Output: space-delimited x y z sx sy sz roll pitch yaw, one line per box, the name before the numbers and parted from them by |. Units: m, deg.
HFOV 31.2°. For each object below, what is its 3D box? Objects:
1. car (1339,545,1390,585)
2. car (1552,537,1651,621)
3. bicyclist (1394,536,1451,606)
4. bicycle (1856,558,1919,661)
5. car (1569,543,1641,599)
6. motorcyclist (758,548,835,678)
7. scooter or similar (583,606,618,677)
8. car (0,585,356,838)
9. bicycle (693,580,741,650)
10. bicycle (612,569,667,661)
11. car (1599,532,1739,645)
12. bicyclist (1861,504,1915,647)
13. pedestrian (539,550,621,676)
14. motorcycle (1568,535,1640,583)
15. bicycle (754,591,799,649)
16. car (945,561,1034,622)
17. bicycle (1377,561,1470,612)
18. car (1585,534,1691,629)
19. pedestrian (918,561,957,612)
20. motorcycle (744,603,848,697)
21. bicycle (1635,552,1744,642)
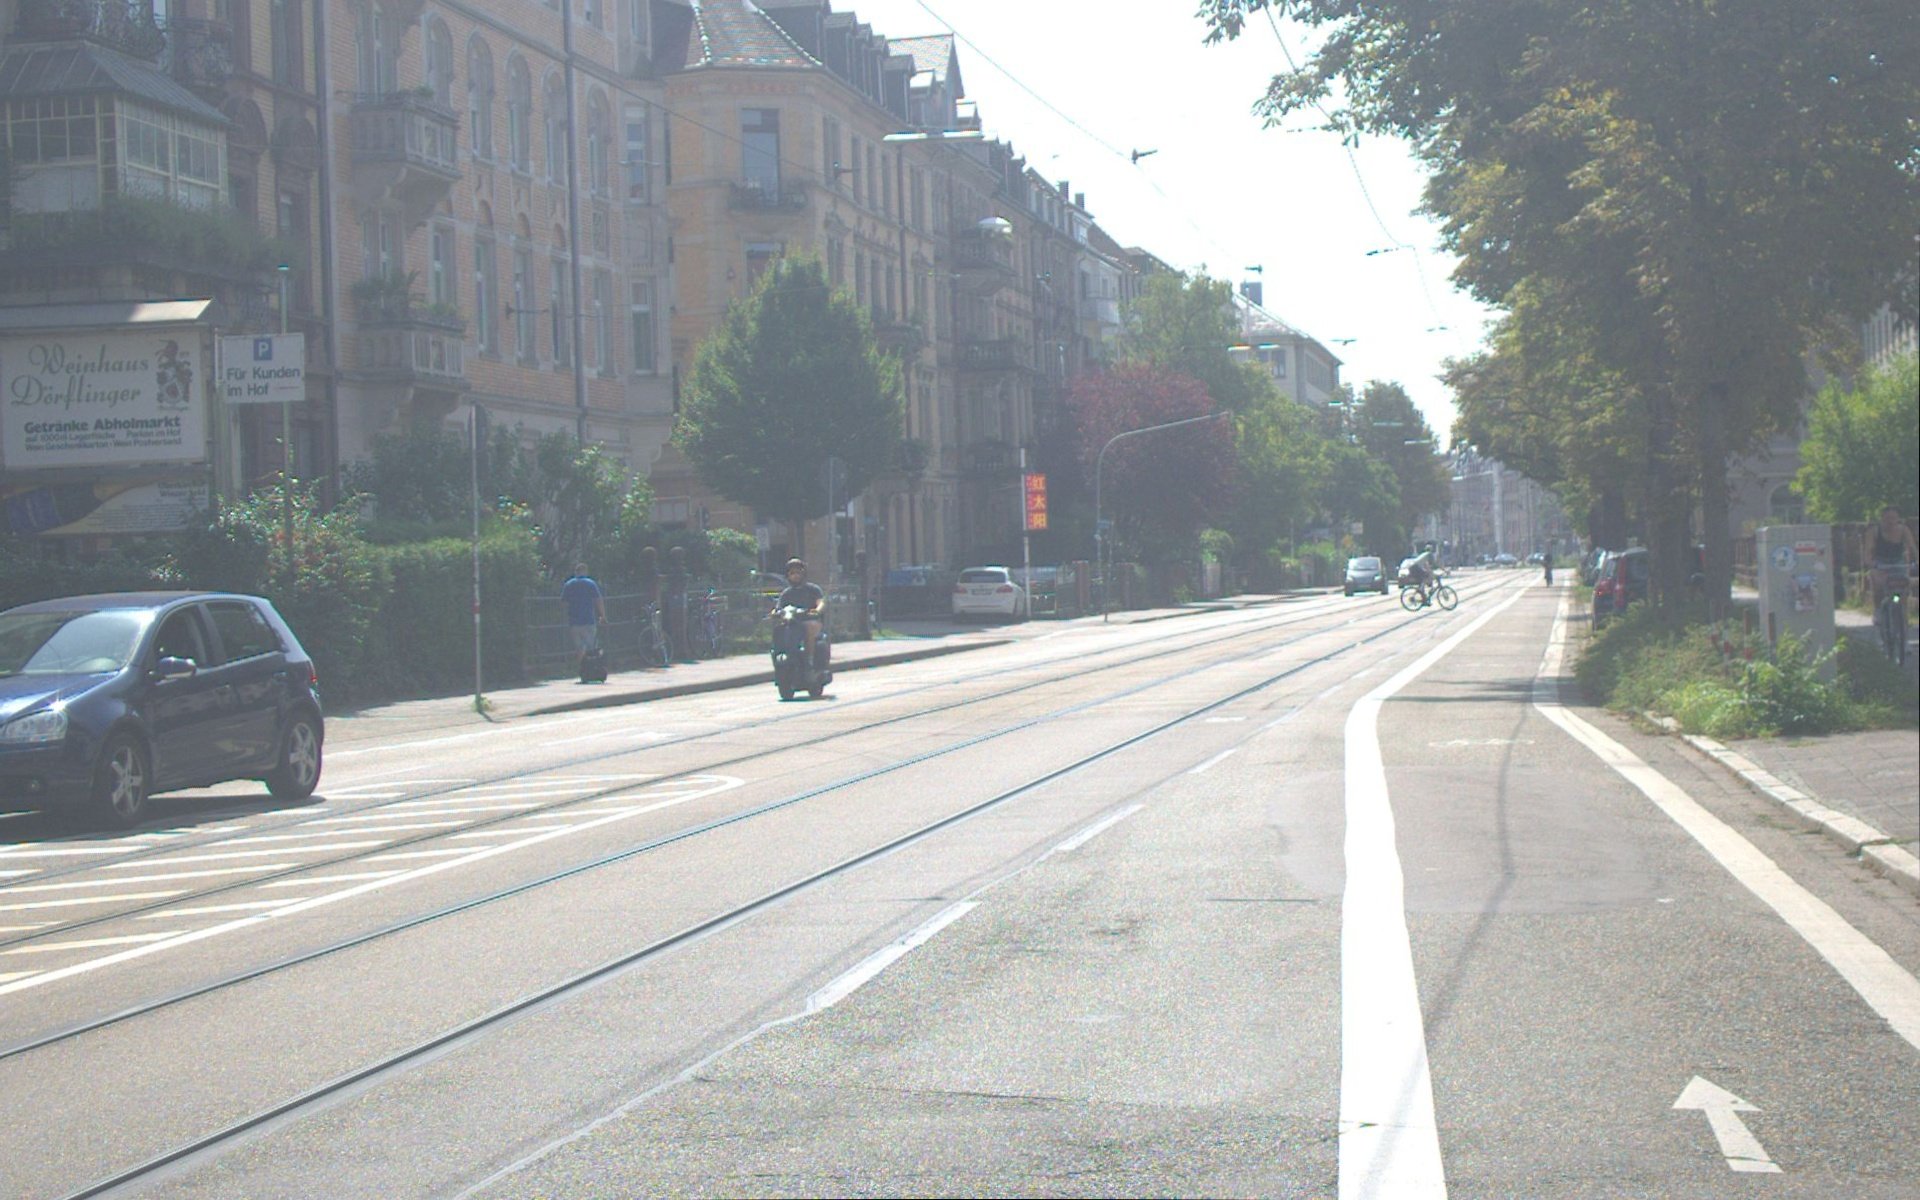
car | 16.926 -1.472 143.656 1.828 1.535 3.999 -2 1 10
car | 12.801 -0.417 68.617 1.756 1.472 4.455 -6 -1 11
bicyclist | 12.468 -0.784 92.682 1.128 1.830 0.953 -2 0 44
bicycle | 9.883 0.088 36.517 0.440 1.043 1.828 -2 0 7
car | 18.089 -0.834 96.555 1.893 1.472 4.838 -2 0 10
motorcyclist | -1.938 0.148 40.839 0.690 1.506 0.772 -2 0 11
scooter or similar | -5.015 0.576 47.941 0.400 0.979 0.584 -1 0 2
car | -5.650 0.667 22.697 1.728 1.428 4.174 -1 1 14
bicycle | -4.130 0.254 58.555 0.390 1.144 1.581 -2 1 11
bicycle | -5.022 0.223 53.908 0.390 1.401 1.581 -2 1 11
car | 10.424 -0.190 50.405 1.618 1.525 3.496 -3 0 17
bicyclist | 9.886 -0.263 36.631 0.437 1.507 0.472 -2 0 7
pedestrian | -5.367 0.177 48.577 0.883 1.750 0.870 -2 0 10
motorcycle | 22.437 -1.421 119.834 0.966 1.535 2.345 -2 -2 -38
bicycle | -3.421 0.365 64.203 0.390 1.035 1.832 -2 1 11
car | 0.866 -0.258 97.030 1.994 1.589 4.358 -2 0 7
bicycle | 12.509 -0.366 92.705 1.150 1.265 2.706 -2 0 42
car | 11.452 -0.332 58.173 1.617 1.472 4.037 -3 0 11
pedestrian | -0.685 -0.395 103.988 0.883 1.506 0.870 -2 0 -20
motorcycle | -1.931 0.582 40.792 0.692 1.027 2.156 -2 1 11
bicycle | 9.439 -0.043 44.491 1.387 1.104 0.389 -2 0 -25
